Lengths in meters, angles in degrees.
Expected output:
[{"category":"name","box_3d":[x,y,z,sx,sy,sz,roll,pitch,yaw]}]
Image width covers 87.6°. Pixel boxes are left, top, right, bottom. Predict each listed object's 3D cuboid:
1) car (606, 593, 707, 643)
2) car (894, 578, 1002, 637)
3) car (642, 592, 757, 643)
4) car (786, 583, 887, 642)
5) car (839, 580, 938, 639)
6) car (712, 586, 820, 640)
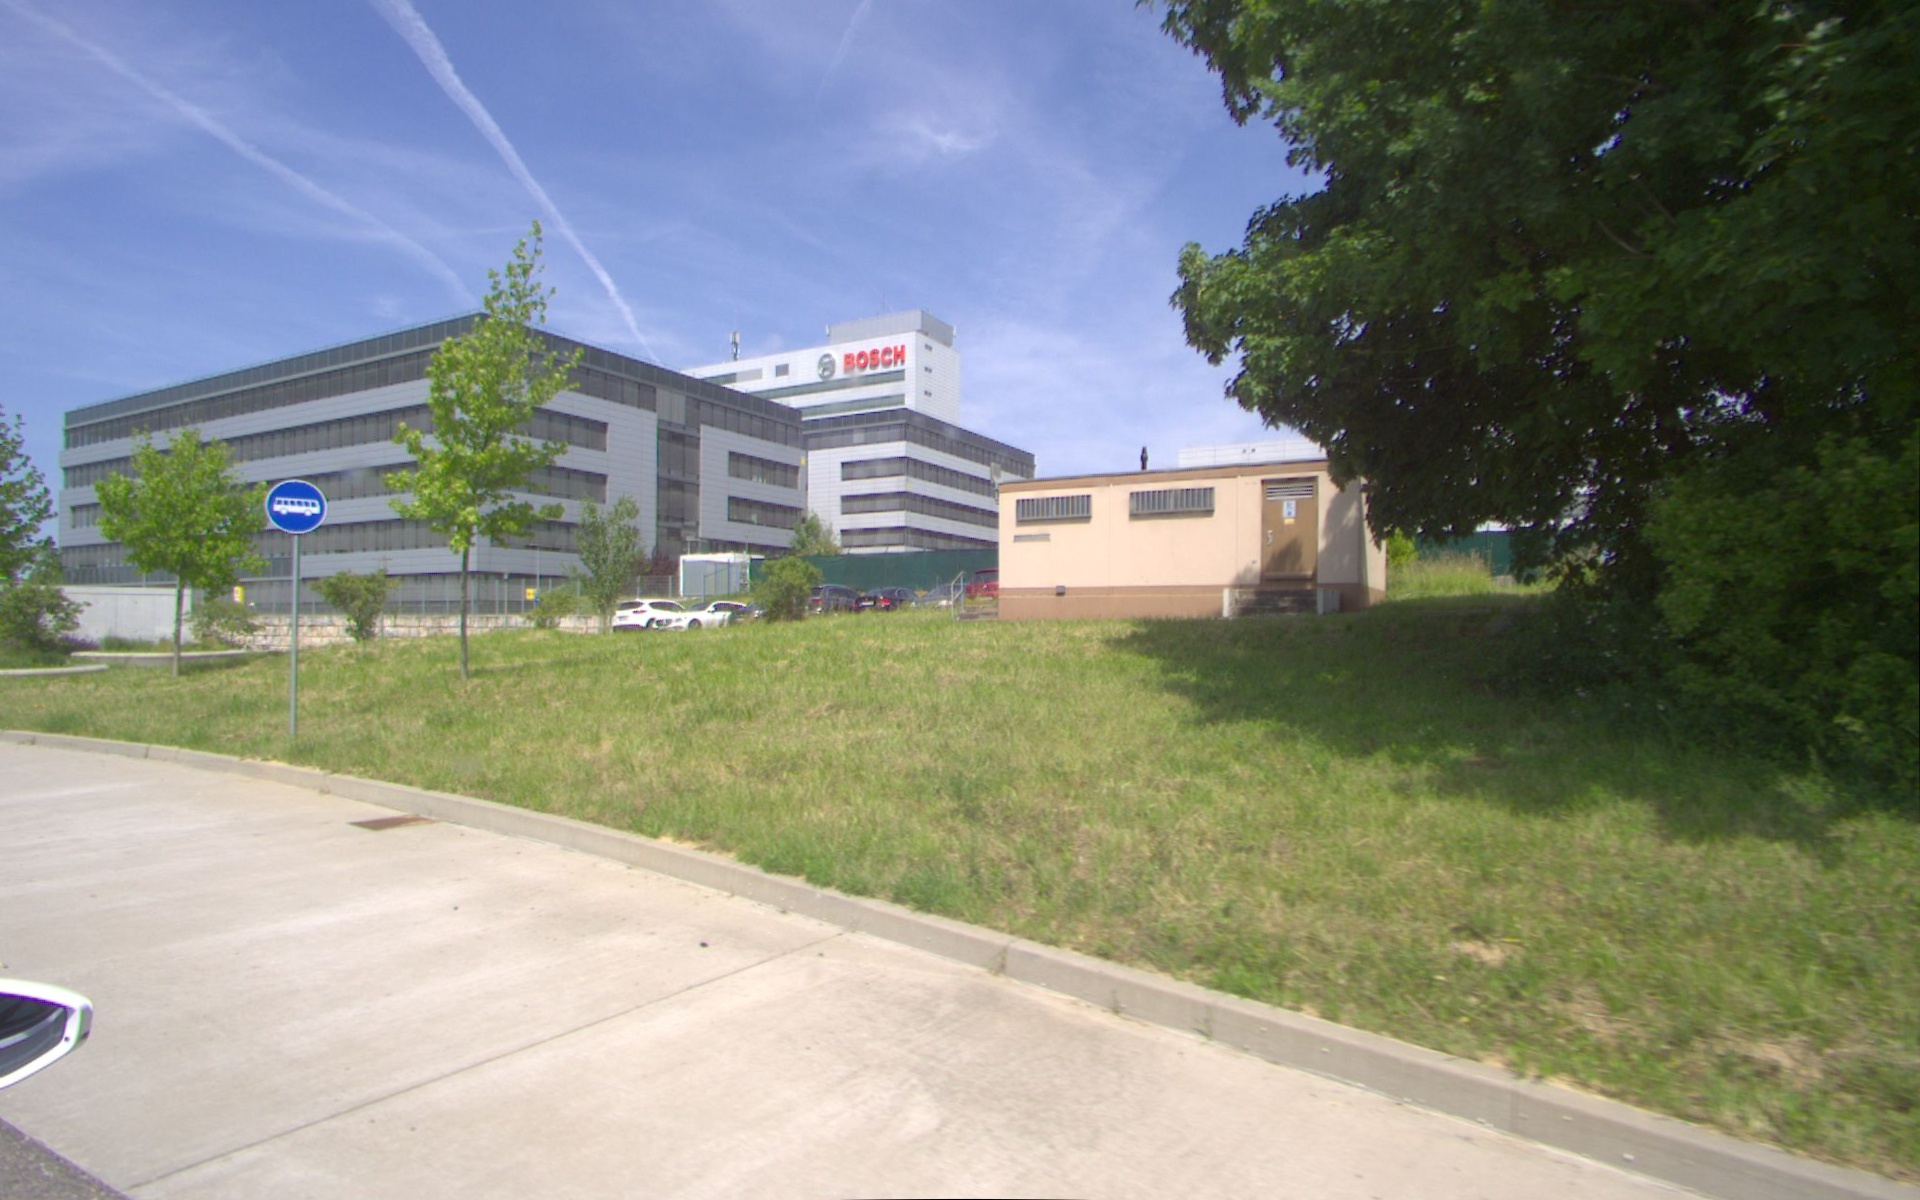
[{"category":"car","box_3d":[-12.676,0.731,42.095,1.729,1.838,3.982,-2,1,27]},{"category":"car","box_3d":[-0.338,0.219,35.031,1.947,1.838,4.348,-2,1,27]},{"category":"car","box_3d":[-10.502,0.669,40.785,1.948,1.790,4.545,-2,1,27]},{"category":"car","box_3d":[-4.560,0.434,37.519,1.729,1.947,3.982,-2,1,27]},{"category":"car","box_3d":[-2.535,0.313,36.520,1.729,1.947,3.982,-2,1,27]},{"category":"car","box_3d":[-7.337,0.470,38.281,1.947,1.838,3.982,-2,1,27]}]
